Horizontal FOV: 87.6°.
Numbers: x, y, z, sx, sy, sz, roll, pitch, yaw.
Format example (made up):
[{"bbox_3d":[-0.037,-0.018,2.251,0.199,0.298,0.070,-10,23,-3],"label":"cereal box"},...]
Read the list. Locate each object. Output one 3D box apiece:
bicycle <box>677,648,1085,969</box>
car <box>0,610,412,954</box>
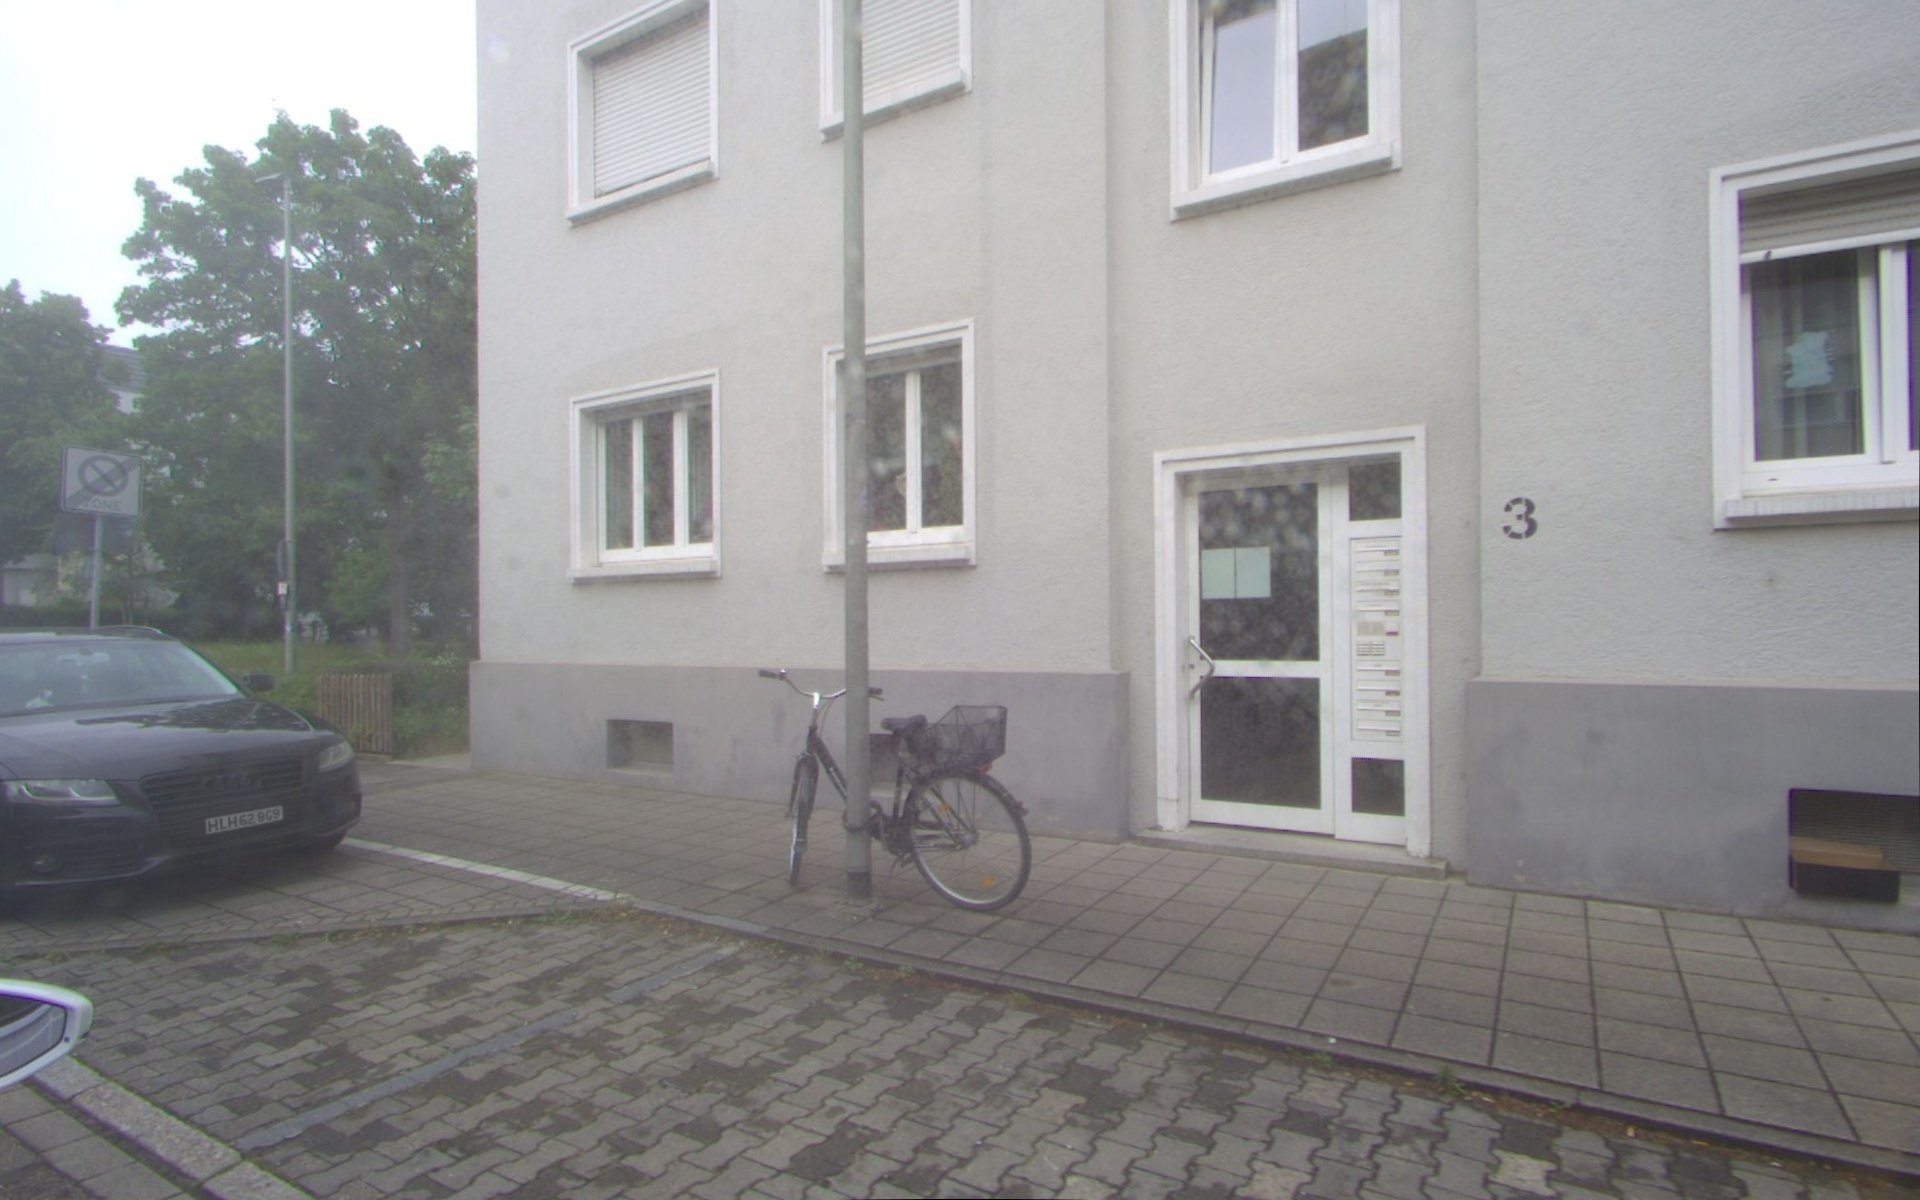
[{"bbox_3d":[-0.414,0.874,4.813,1.868,1.216,0.747,-1,1,32],"label":"bicycle"},{"bbox_3d":[-5.716,0.830,6.306,4.655,1.482,1.858,-1,0,30],"label":"car"}]
